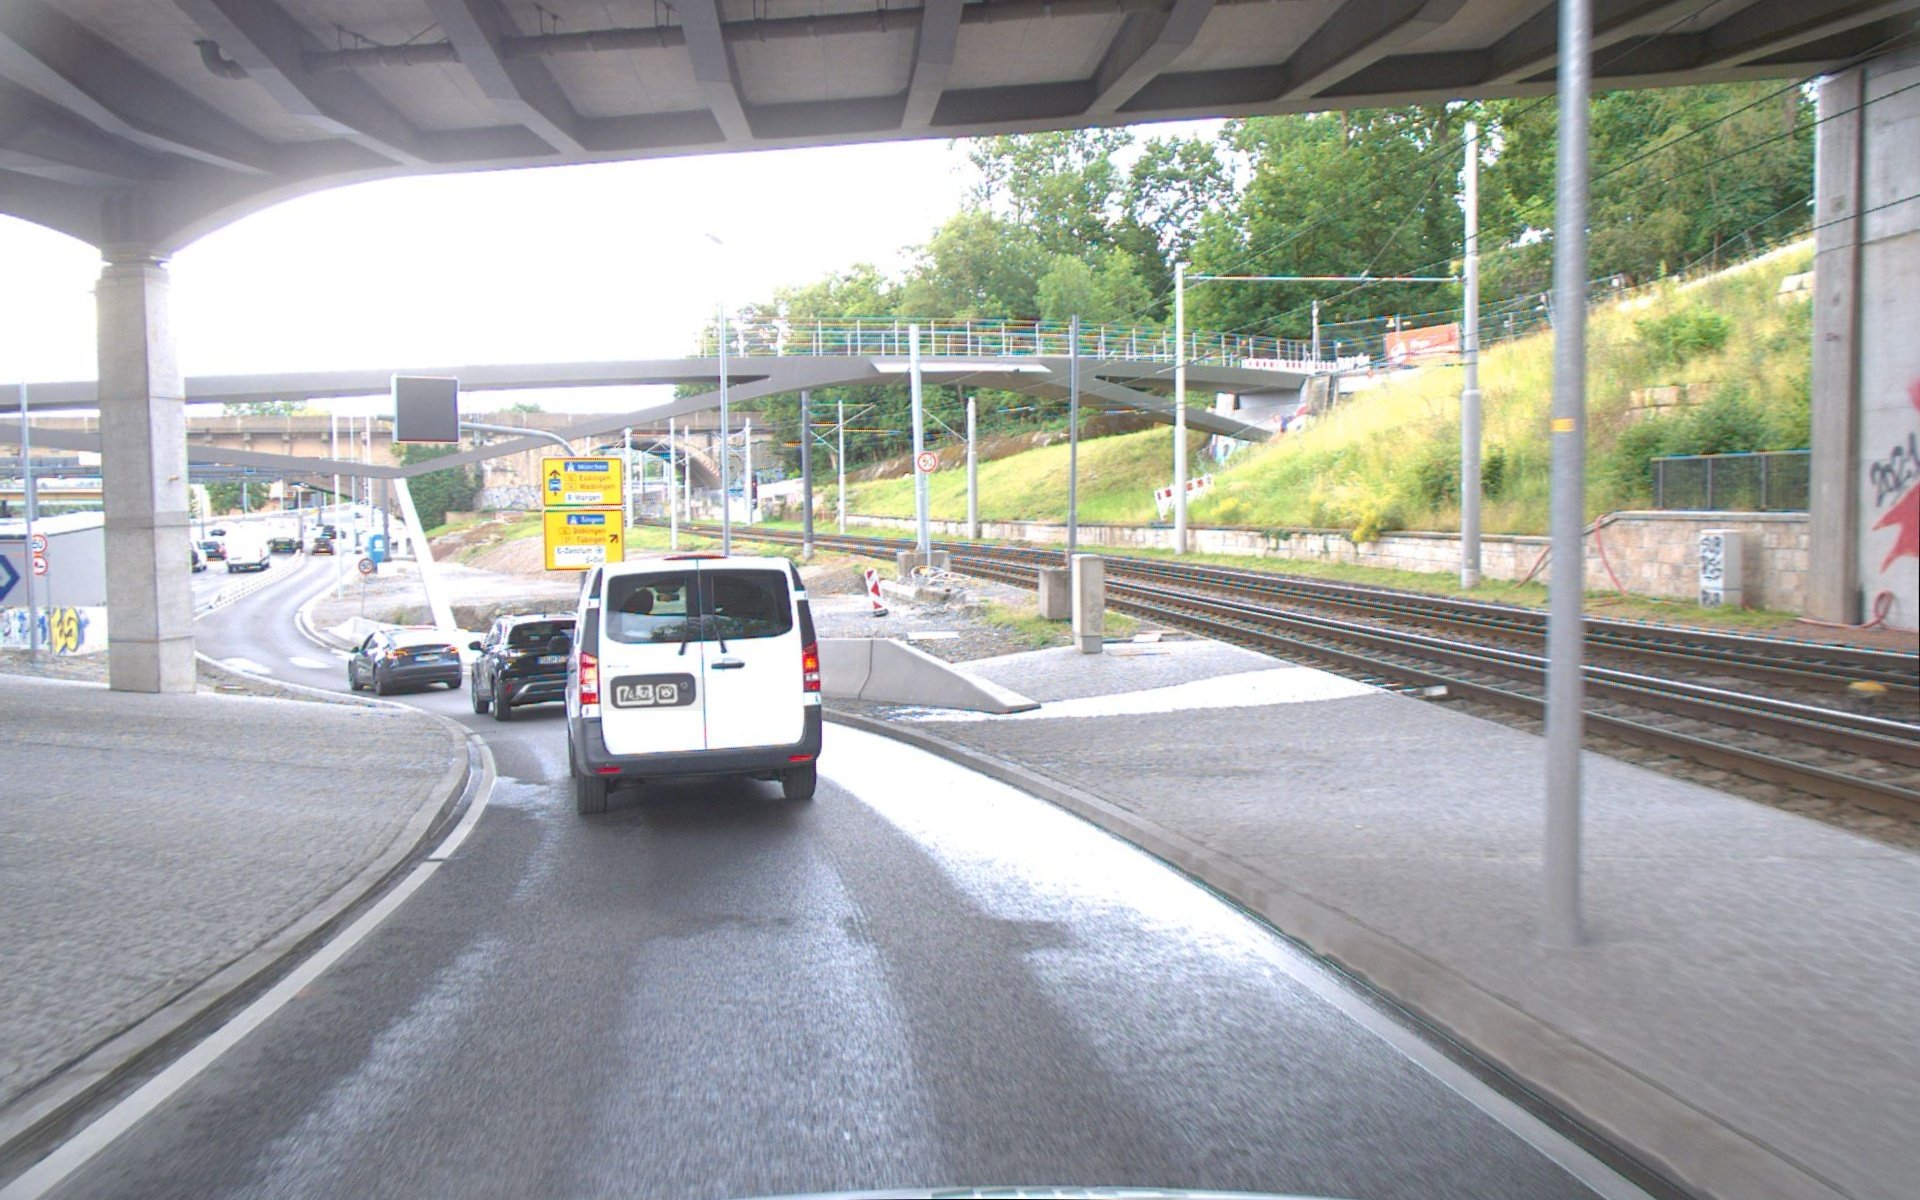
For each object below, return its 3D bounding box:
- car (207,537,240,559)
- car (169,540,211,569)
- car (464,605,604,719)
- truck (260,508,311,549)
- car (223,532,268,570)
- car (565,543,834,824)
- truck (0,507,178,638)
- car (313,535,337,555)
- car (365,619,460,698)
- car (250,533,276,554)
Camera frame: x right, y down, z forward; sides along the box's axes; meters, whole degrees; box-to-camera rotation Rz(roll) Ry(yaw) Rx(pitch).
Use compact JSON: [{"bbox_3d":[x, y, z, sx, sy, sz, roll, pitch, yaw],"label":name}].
[{"bbox_3d":[-52.476,-3.665,117.898,1.505,1.535,3.984,-1,2,-15],"label":"car"},{"bbox_3d":[-45.414,-2.696,97.594,1.618,1.648,3.984,-1,2,-16],"label":"car"},{"bbox_3d":[-7.006,0.935,26.979,1.725,1.653,3.819,-1,0,-22],"label":"car"},{"bbox_3d":[-59.111,-6.234,145.118,3.340,3.204,7.222,1,0,-17],"label":"truck"},{"bbox_3d":[-41.412,-2.841,95.904,1.868,2.152,4.465,-1,2,-17],"label":"car"},{"bbox_3d":[-2.352,0.609,14.052,1.844,1.924,4.737,-1,-1,-13],"label":"car"},{"bbox_3d":[-31.990,-1.298,59.356,3.258,3.874,16.552,0,4,-12],"label":"truck"},{"bbox_3d":[-51.760,-4.476,134.903,1.598,1.612,3.980,-1,2,-18],"label":"car"},{"bbox_3d":[-12.463,1.275,37.546,1.484,1.494,3.370,-5,3,-27],"label":"car"},{"bbox_3d":[-57.204,-4.630,135.779,1.598,1.612,3.980,-1,2,-18],"label":"car"}]
